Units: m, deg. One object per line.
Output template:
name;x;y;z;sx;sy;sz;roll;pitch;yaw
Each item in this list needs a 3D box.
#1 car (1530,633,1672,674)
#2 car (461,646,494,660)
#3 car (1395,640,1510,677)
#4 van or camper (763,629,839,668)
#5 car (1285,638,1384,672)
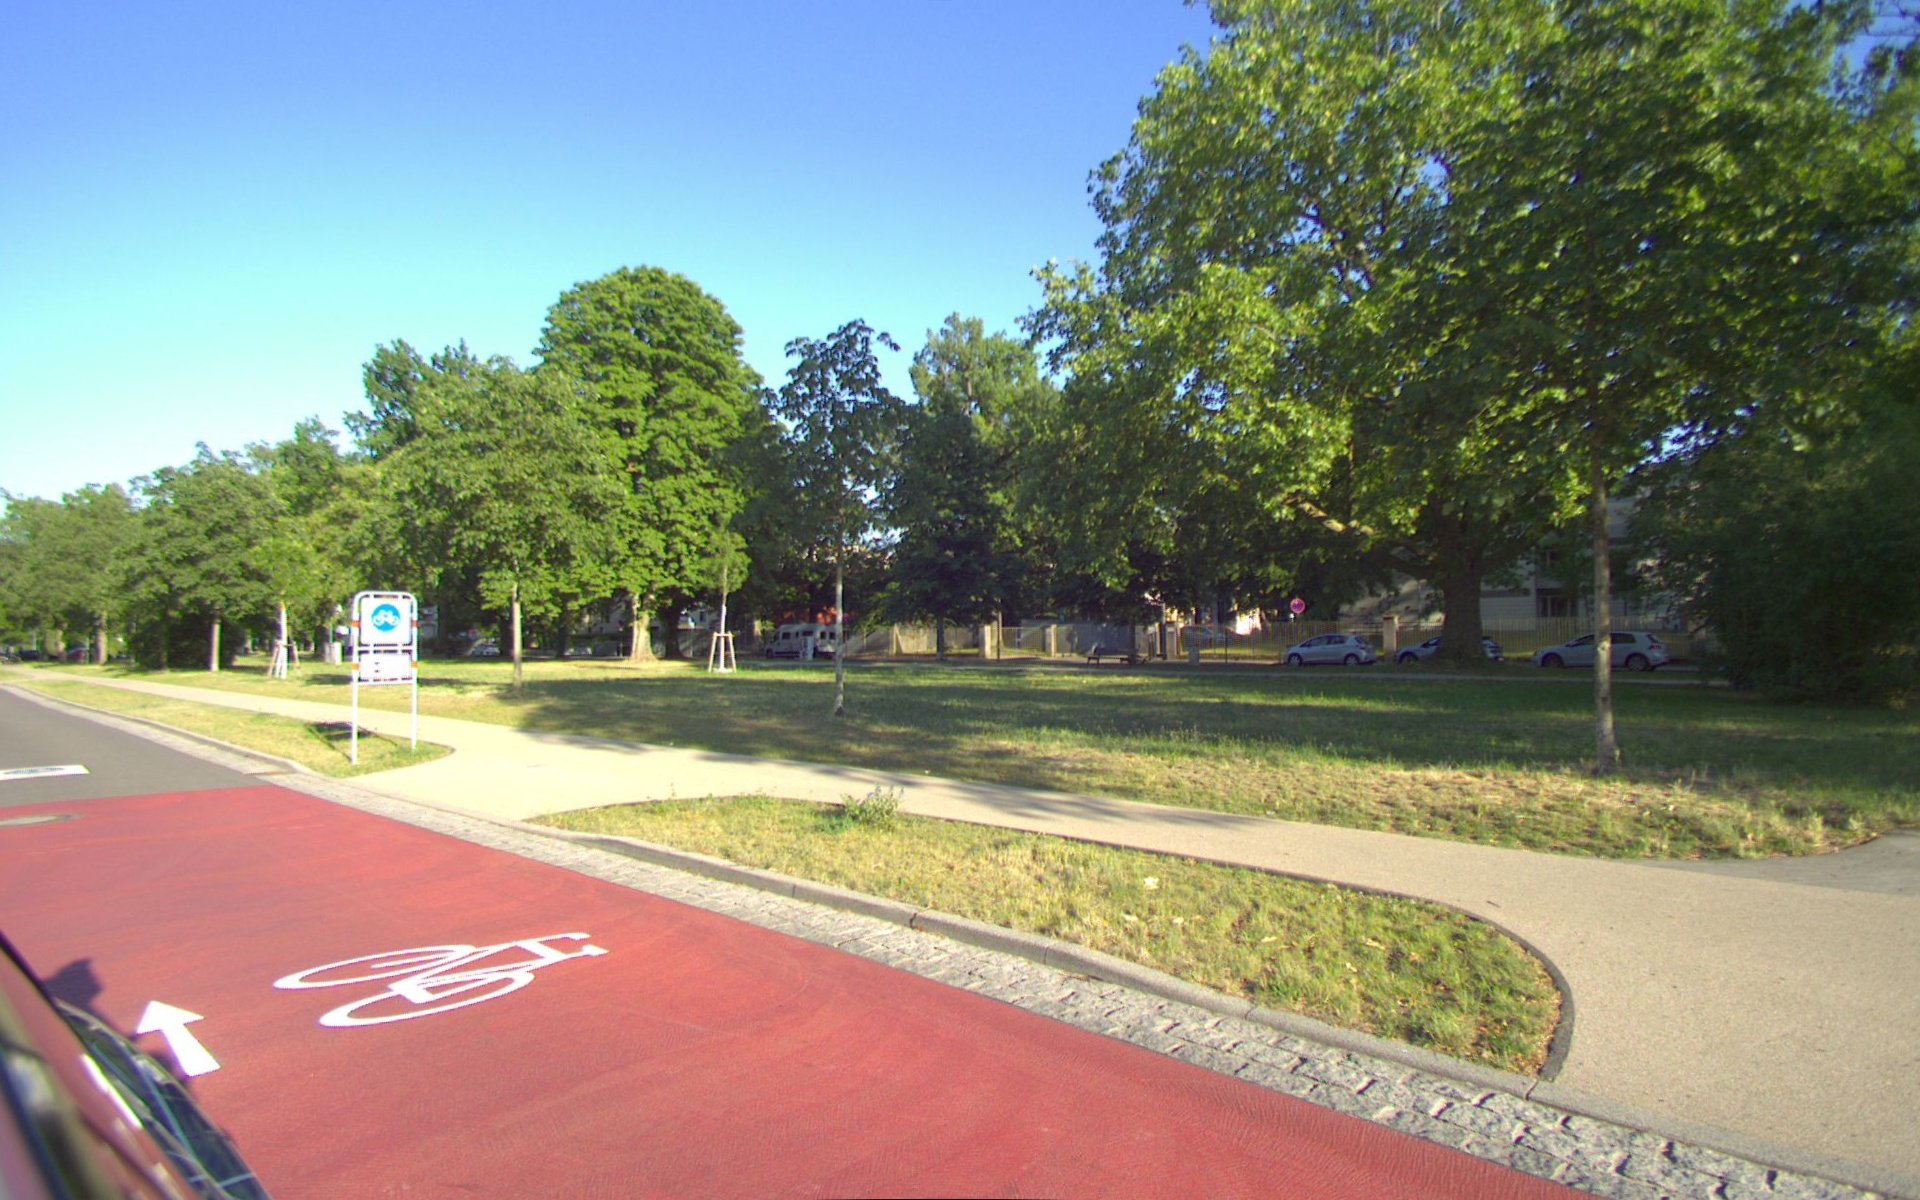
car;23.104;1.934;36.597;4.107;1.378;1.505;-3;-3;43
car;-50.080;5.500;104.970;3.999;1.475;1.773;-3;-3;42
car;19.517;2.329;40.186;3.792;1.378;1.505;-3;-3;43
van or camper;-10.858;3.337;68.788;5.464;2.458;1.973;-3;-1;41
car;16.062;2.345;43.510;3.649;1.378;1.505;-3;-3;43
